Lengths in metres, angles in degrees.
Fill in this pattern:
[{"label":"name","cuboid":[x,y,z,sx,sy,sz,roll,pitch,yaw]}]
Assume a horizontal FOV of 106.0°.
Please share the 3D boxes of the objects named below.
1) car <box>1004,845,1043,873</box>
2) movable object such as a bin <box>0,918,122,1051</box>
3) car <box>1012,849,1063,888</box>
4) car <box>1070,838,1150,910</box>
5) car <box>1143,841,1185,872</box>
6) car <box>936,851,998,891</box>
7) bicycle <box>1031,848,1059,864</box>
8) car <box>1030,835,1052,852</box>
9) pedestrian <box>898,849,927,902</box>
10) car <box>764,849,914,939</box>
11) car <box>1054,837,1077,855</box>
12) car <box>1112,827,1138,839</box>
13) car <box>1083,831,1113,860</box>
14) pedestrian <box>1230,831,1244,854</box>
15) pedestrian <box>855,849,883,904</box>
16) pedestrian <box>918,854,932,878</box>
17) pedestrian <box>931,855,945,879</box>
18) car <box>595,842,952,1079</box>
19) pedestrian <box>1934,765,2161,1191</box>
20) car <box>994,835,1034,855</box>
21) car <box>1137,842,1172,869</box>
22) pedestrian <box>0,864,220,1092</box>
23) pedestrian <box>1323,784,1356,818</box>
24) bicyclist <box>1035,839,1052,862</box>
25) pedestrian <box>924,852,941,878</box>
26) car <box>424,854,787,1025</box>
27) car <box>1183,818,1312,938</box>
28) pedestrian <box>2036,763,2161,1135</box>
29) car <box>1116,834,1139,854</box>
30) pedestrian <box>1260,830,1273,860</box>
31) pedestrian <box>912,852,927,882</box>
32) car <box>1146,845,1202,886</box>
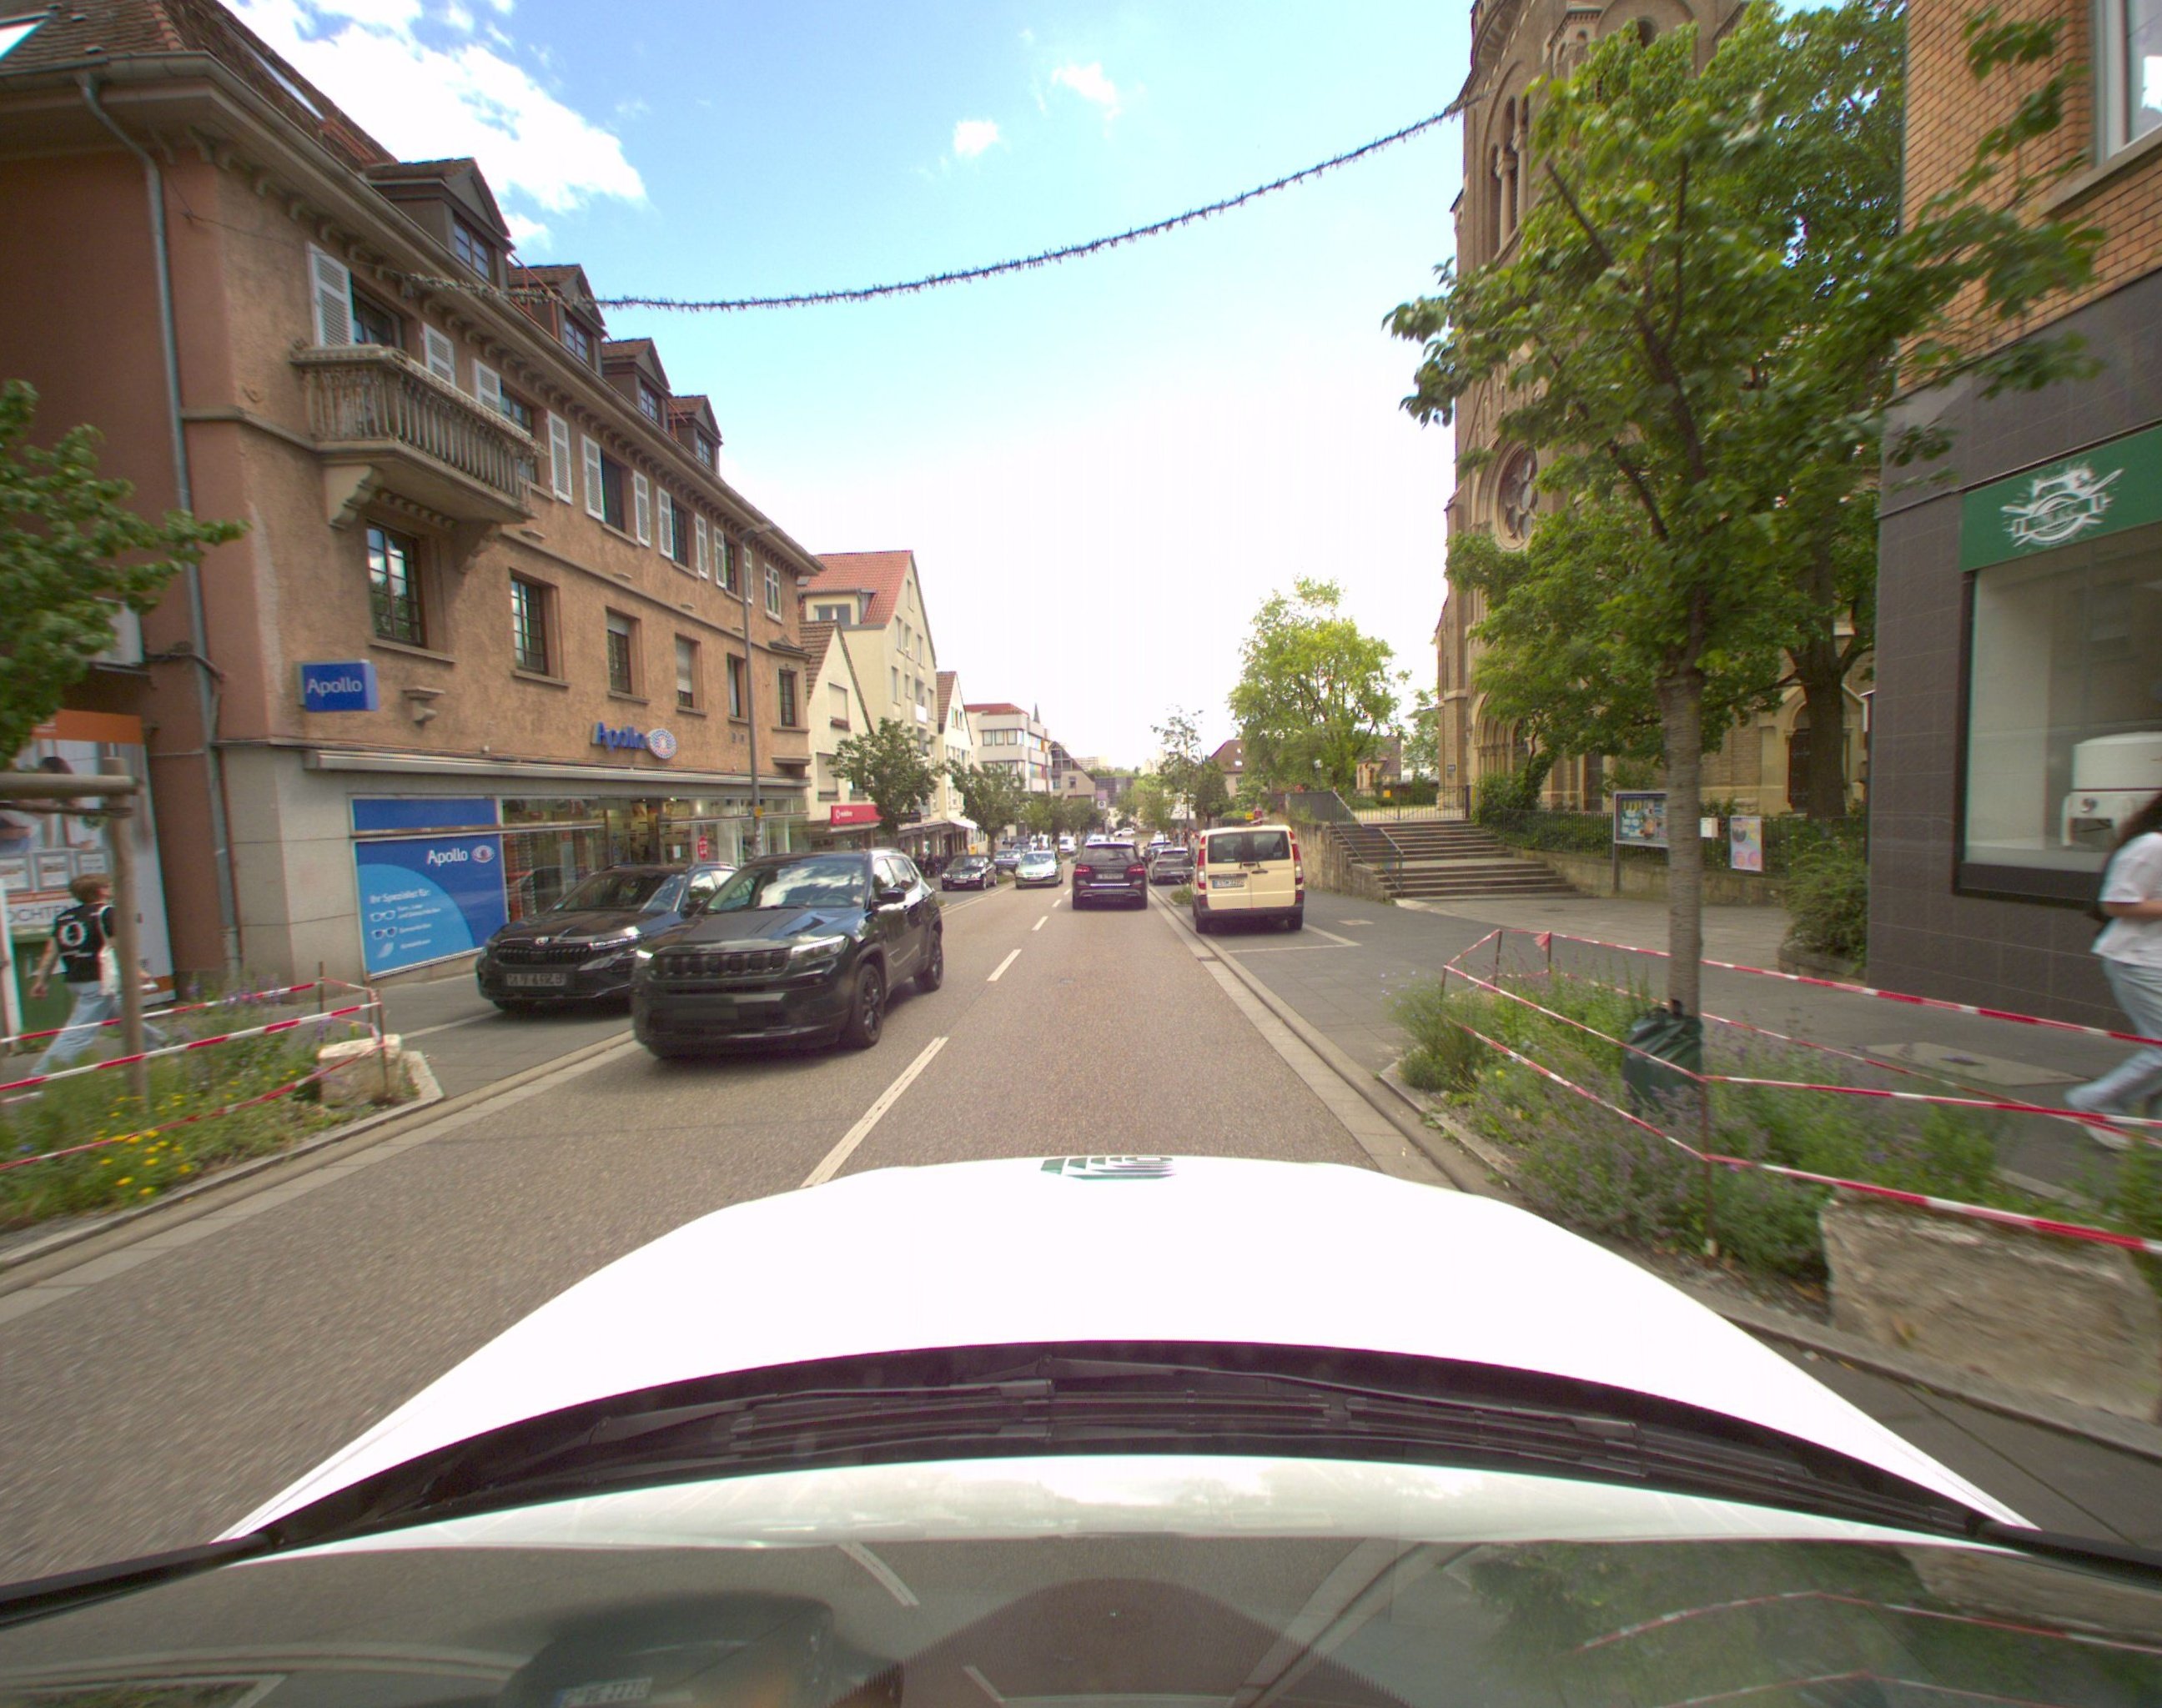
[{"label":"car","cuboid":[-3.500,0.270,50.432,1.919,1.628,4.265,-1,1,2]},{"label":"movable object such as a bin","cuboid":[-9.355,1.163,7.319,0.738,1.084,0.547,-4,0,0]},{"label":"car","cuboid":[-1.760,0.562,34.308,1.806,1.508,4.001,-2,0,1]},{"label":"car","cuboid":[0.783,0.468,21.884,1.936,1.740,4.181,0,1,2]},{"label":"car","cuboid":[4.463,0.072,44.369,1.930,1.457,4.710,-4,1,3]},{"label":"car","cuboid":[-4.673,0.661,33.947,1.920,1.496,4.263,0,1,1]},{"label":"bicycle","cuboid":[-2.695,0.159,61.305,1.966,1.057,0.706,-4,0,-26]},{"label":"car","cuboid":[-3.792,-1.022,77.718,1.920,1.628,4.414,0,1,0]},{"label":"pedestrian","cuboid":[-5.360,0.666,25.900,0.724,1.667,0.720,-1,0,1]},{"label":"car","cuboid":[-4.944,0.726,17.315,1.921,1.595,4.456,0,1,-1]},{"label":"car","cuboid":[-1.381,-0.746,74.690,1.919,1.628,4.265,0,1,2]},{"label":"car","cuboid":[7.505,-3.526,139.166,4.073,2.013,1.992,0,0,-12]},{"label":"car","cuboid":[1.528,-0.735,71.535,2.163,2.364,4.631,-4,0,6]},{"label":"pedestrian","cuboid":[13.717,-1.022,71.605,1.044,1.913,0.939,-4,0,9]},{"label":"pedestrian","cuboid":[-6.570,0.685,25.295,0.638,1.667,0.720,-1,0,1]},{"label":"pedestrian","cuboid":[-8.393,0.622,43.828,0.563,1.281,0.759,-1,0,1]},{"label":"pedestrian","cuboid":[-7.662,0.699,43.758,0.563,1.281,0.759,-1,0,1]},{"label":"car","cuboid":[-2.522,0.756,7.835,1.758,1.617,4.033,-2,0,1]},{"label":"pedestrian","cuboid":[4.372,0.458,3.475,0.670,1.632,0.669,-4,0,-1]},{"label":"car","cuboid":[-6.955,-0.911,85.073,3.977,1.749,1.998,-4,0,-2]},{"label":"car","cuboid":[4.543,0.041,50.674,1.930,1.544,4.710,-2,1,3]},{"label":"pedestrian","cuboid":[-7.376,0.888,6.234,0.545,1.575,0.863,-3,1,1]},{"label":"pedestrian","cuboid":[10.198,-2.086,32.162,0.986,1.231,0.985,-2,0,3]},{"label":"bicyclist","cuboid":[-2.808,-0.272,61.252,0.967,1.609,0.724,-4,0,-25]},{"label":"pedestrian","cuboid":[-7.735,0.561,42.490,0.684,1.281,0.676,-2,0,1]},{"label":"car","cuboid":[-5.341,0.820,9.973,1.921,1.496,4.260,-2,1,-1]},{"label":"car","cuboid":[3.081,0.358,16.017,1.928,1.891,4.715,-4,1,6]},{"label":"pedestrian","cuboid":[5.035,0.400,3.633,0.670,1.632,0.669,-4,0,-1]},{"label":"car","cuboid":[3.904,-0.861,68.847,1.919,1.628,4.265,0,1,2]},{"label":"pedestrian","cuboid":[10.013,-0.500,43.993,0.565,1.586,0.668,-2,0,10]},{"label":"pedestrian","cuboid":[-8.403,0.655,42.501,0.571,1.534,0.676,-2,0,1]},{"label":"car","cuboid":[3.798,0.426,33.890,1.930,1.457,4.710,-2,1,3]}]
